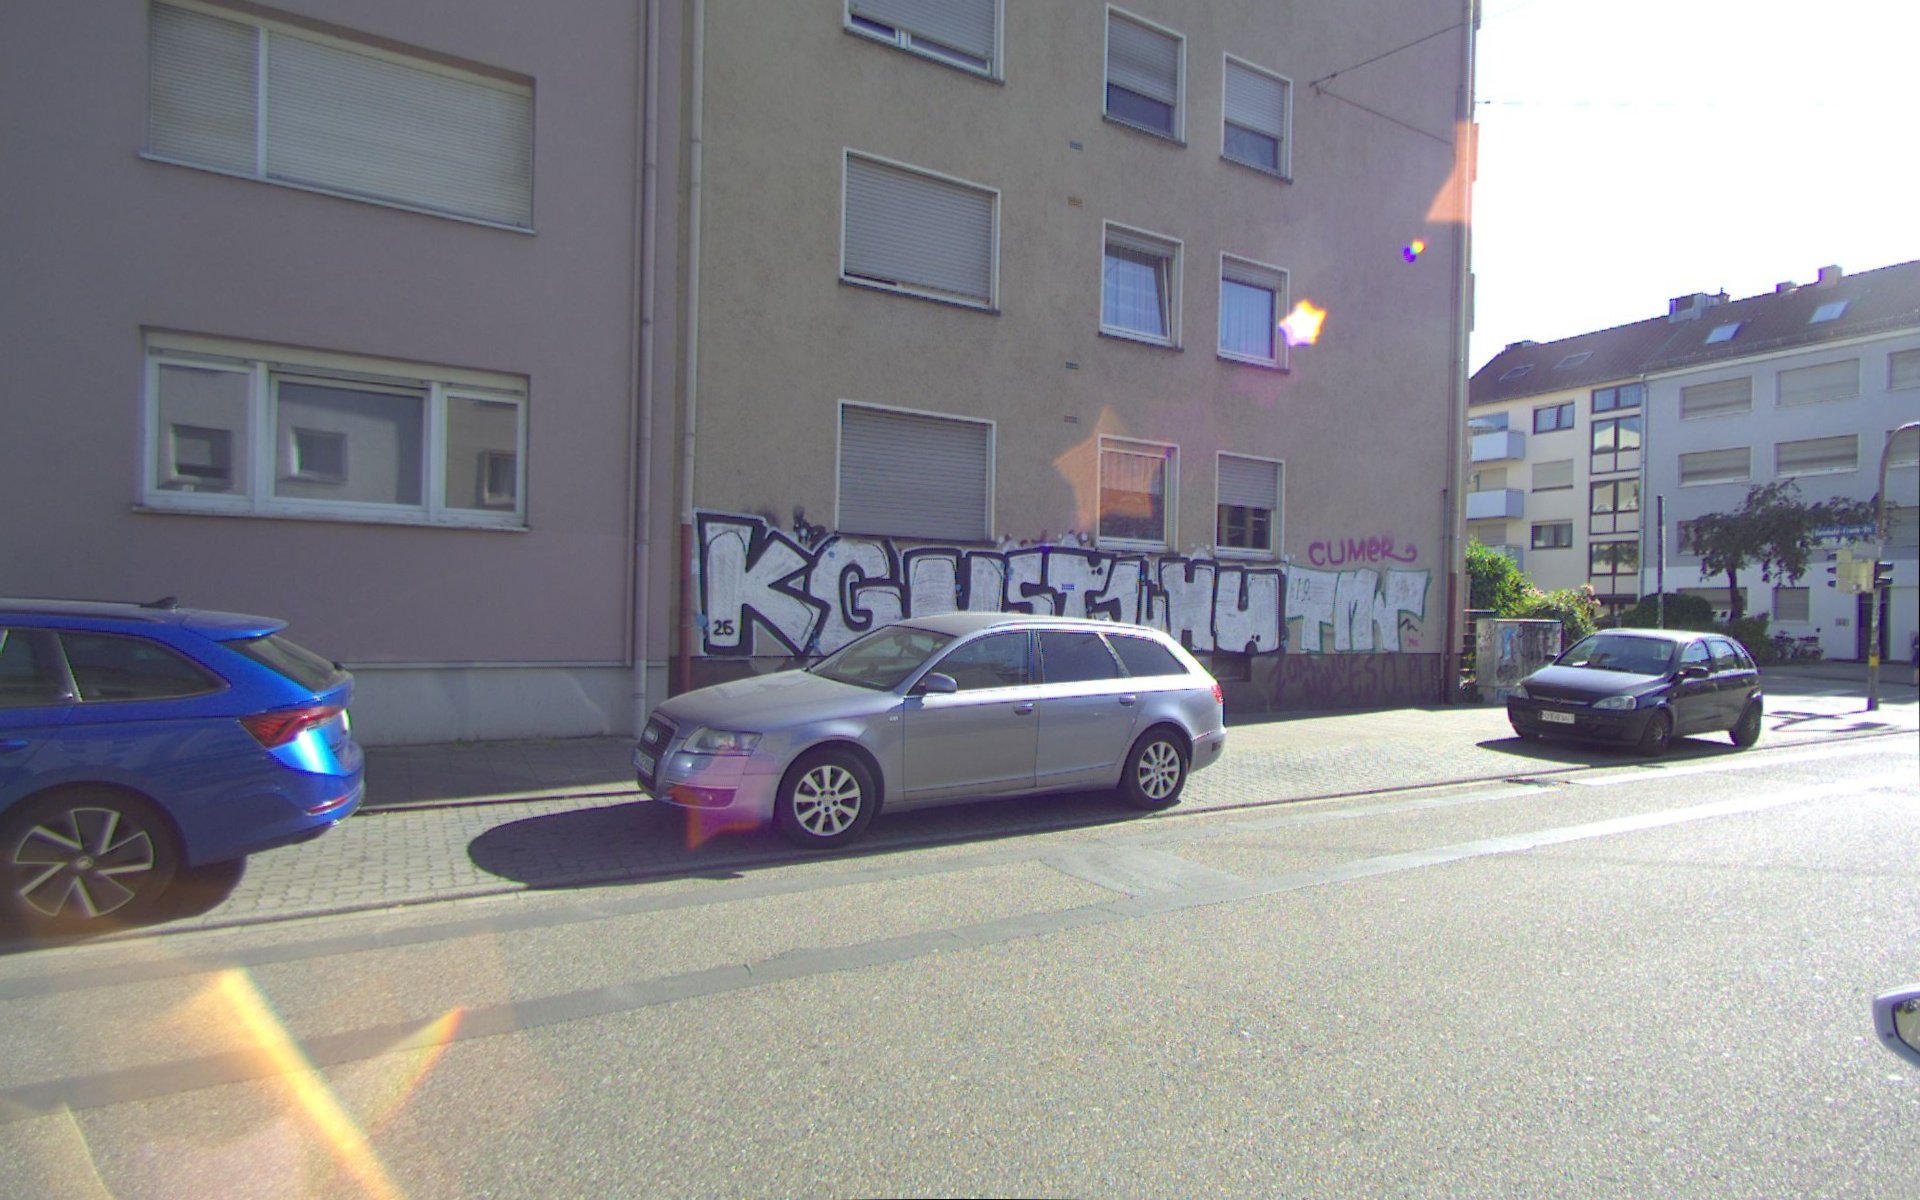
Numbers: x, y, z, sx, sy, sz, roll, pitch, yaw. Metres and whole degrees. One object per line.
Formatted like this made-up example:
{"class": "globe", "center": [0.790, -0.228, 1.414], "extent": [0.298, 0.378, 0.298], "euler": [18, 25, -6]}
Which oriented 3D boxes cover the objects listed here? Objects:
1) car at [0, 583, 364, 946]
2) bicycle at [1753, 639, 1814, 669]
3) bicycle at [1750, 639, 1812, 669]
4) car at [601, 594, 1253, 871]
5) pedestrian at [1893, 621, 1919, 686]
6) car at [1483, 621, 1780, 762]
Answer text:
{"class": "car", "center": [-5.500, 0.690, 4.587], "extent": [4.747, 1.523, 1.813], "euler": [1, 2, -32]}
{"class": "bicycle", "center": [28.467, 1.861, 34.747], "extent": [0.506, 0.952, 1.583], "euler": [1, -1, -27]}
{"class": "bicycle", "center": [28.014, 1.817, 34.288], "extent": [0.506, 0.952, 1.583], "euler": [1, -1, -27]}
{"class": "car", "center": [-0.107, 0.801, 7.753], "extent": [4.747, 1.523, 1.813], "euler": [1, 2, -32]}
{"class": "pedestrian", "center": [25.592, 1.420, 26.837], "extent": [0.953, 1.705, 0.572], "euler": [1, 0, -19]}
{"class": "car", "center": [8.617, 1.064, 12.835], "extent": [3.813, 1.468, 1.682], "euler": [1, 2, -32]}
